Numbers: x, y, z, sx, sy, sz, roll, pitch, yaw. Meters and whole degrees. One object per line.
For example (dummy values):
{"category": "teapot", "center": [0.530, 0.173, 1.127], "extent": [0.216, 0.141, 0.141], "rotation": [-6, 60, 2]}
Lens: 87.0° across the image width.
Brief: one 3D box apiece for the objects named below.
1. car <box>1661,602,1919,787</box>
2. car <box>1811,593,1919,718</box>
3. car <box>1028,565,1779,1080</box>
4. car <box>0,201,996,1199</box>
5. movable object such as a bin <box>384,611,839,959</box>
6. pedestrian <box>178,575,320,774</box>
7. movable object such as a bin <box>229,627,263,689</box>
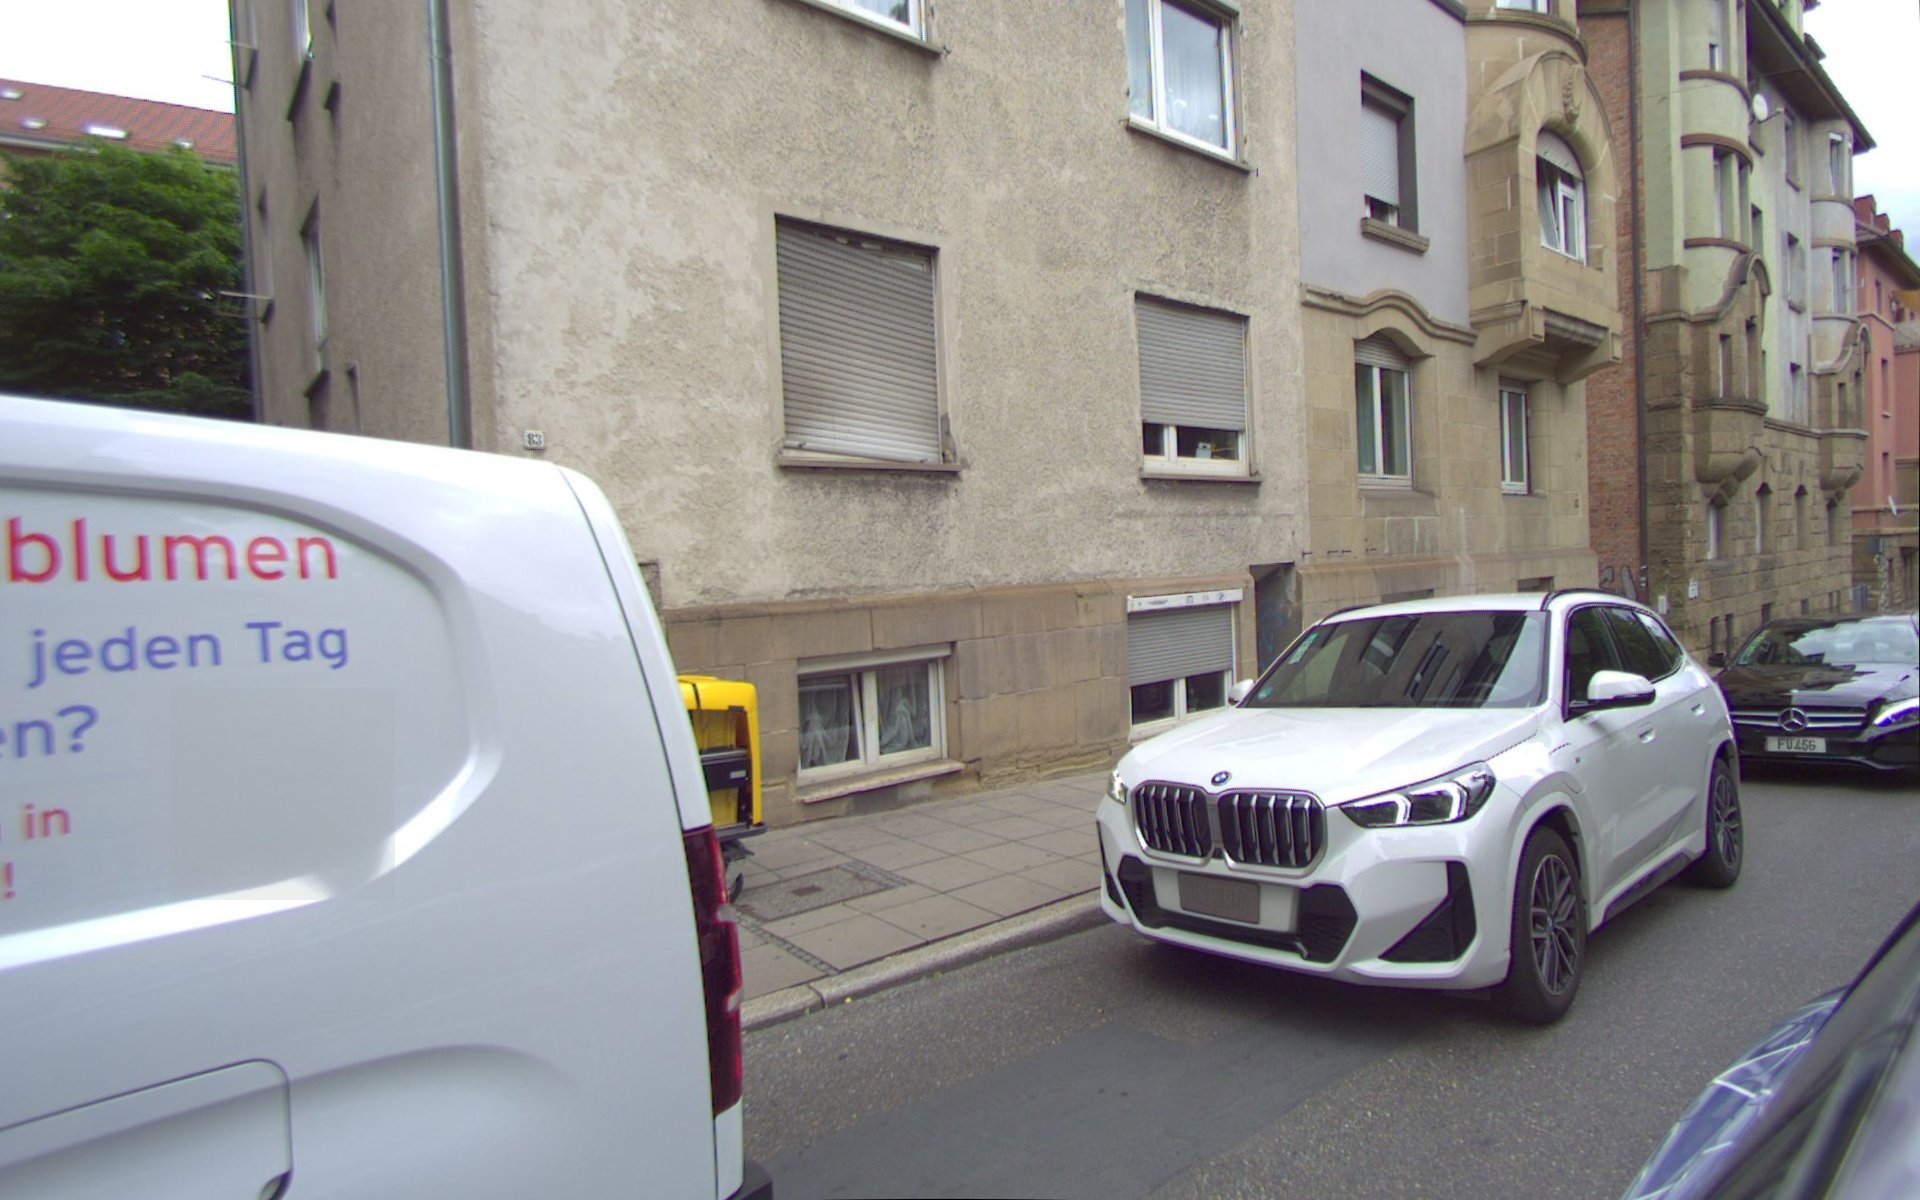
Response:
{"category": "car", "center": [8.465, 0.759, 9.652], "extent": [4.133, 1.395, 1.882], "rotation": [-1, -3, -41]}
{"category": "car", "center": [13.470, 0.663, 13.886], "extent": [4.226, 1.534, 1.935], "rotation": [-1, -3, -40]}
{"category": "car", "center": [2.547, 0.719, 5.247], "extent": [4.276, 1.576, 1.857], "rotation": [-1, -4, -42]}
{"category": "car", "center": [-2.308, 0.586, 0.934], "extent": [4.597, 1.798, 1.977], "rotation": [-1, -3, -42]}
{"category": "movable object such as a bin", "center": [-1.805, 0.790, 5.380], "extent": [1.979, 1.391, 1.223], "rotation": [-1, 2, -43]}
{"category": "pedestrian", "center": [-6.530, 0.639, 9.304], "extent": [0.808, 1.666, 0.773], "rotation": [0, 6, 42]}
{"category": "movable object such as a bin", "center": [-10.994, 0.881, 15.582], "extent": [0.405, 0.923, 0.340], "rotation": [0, 0, -40]}
